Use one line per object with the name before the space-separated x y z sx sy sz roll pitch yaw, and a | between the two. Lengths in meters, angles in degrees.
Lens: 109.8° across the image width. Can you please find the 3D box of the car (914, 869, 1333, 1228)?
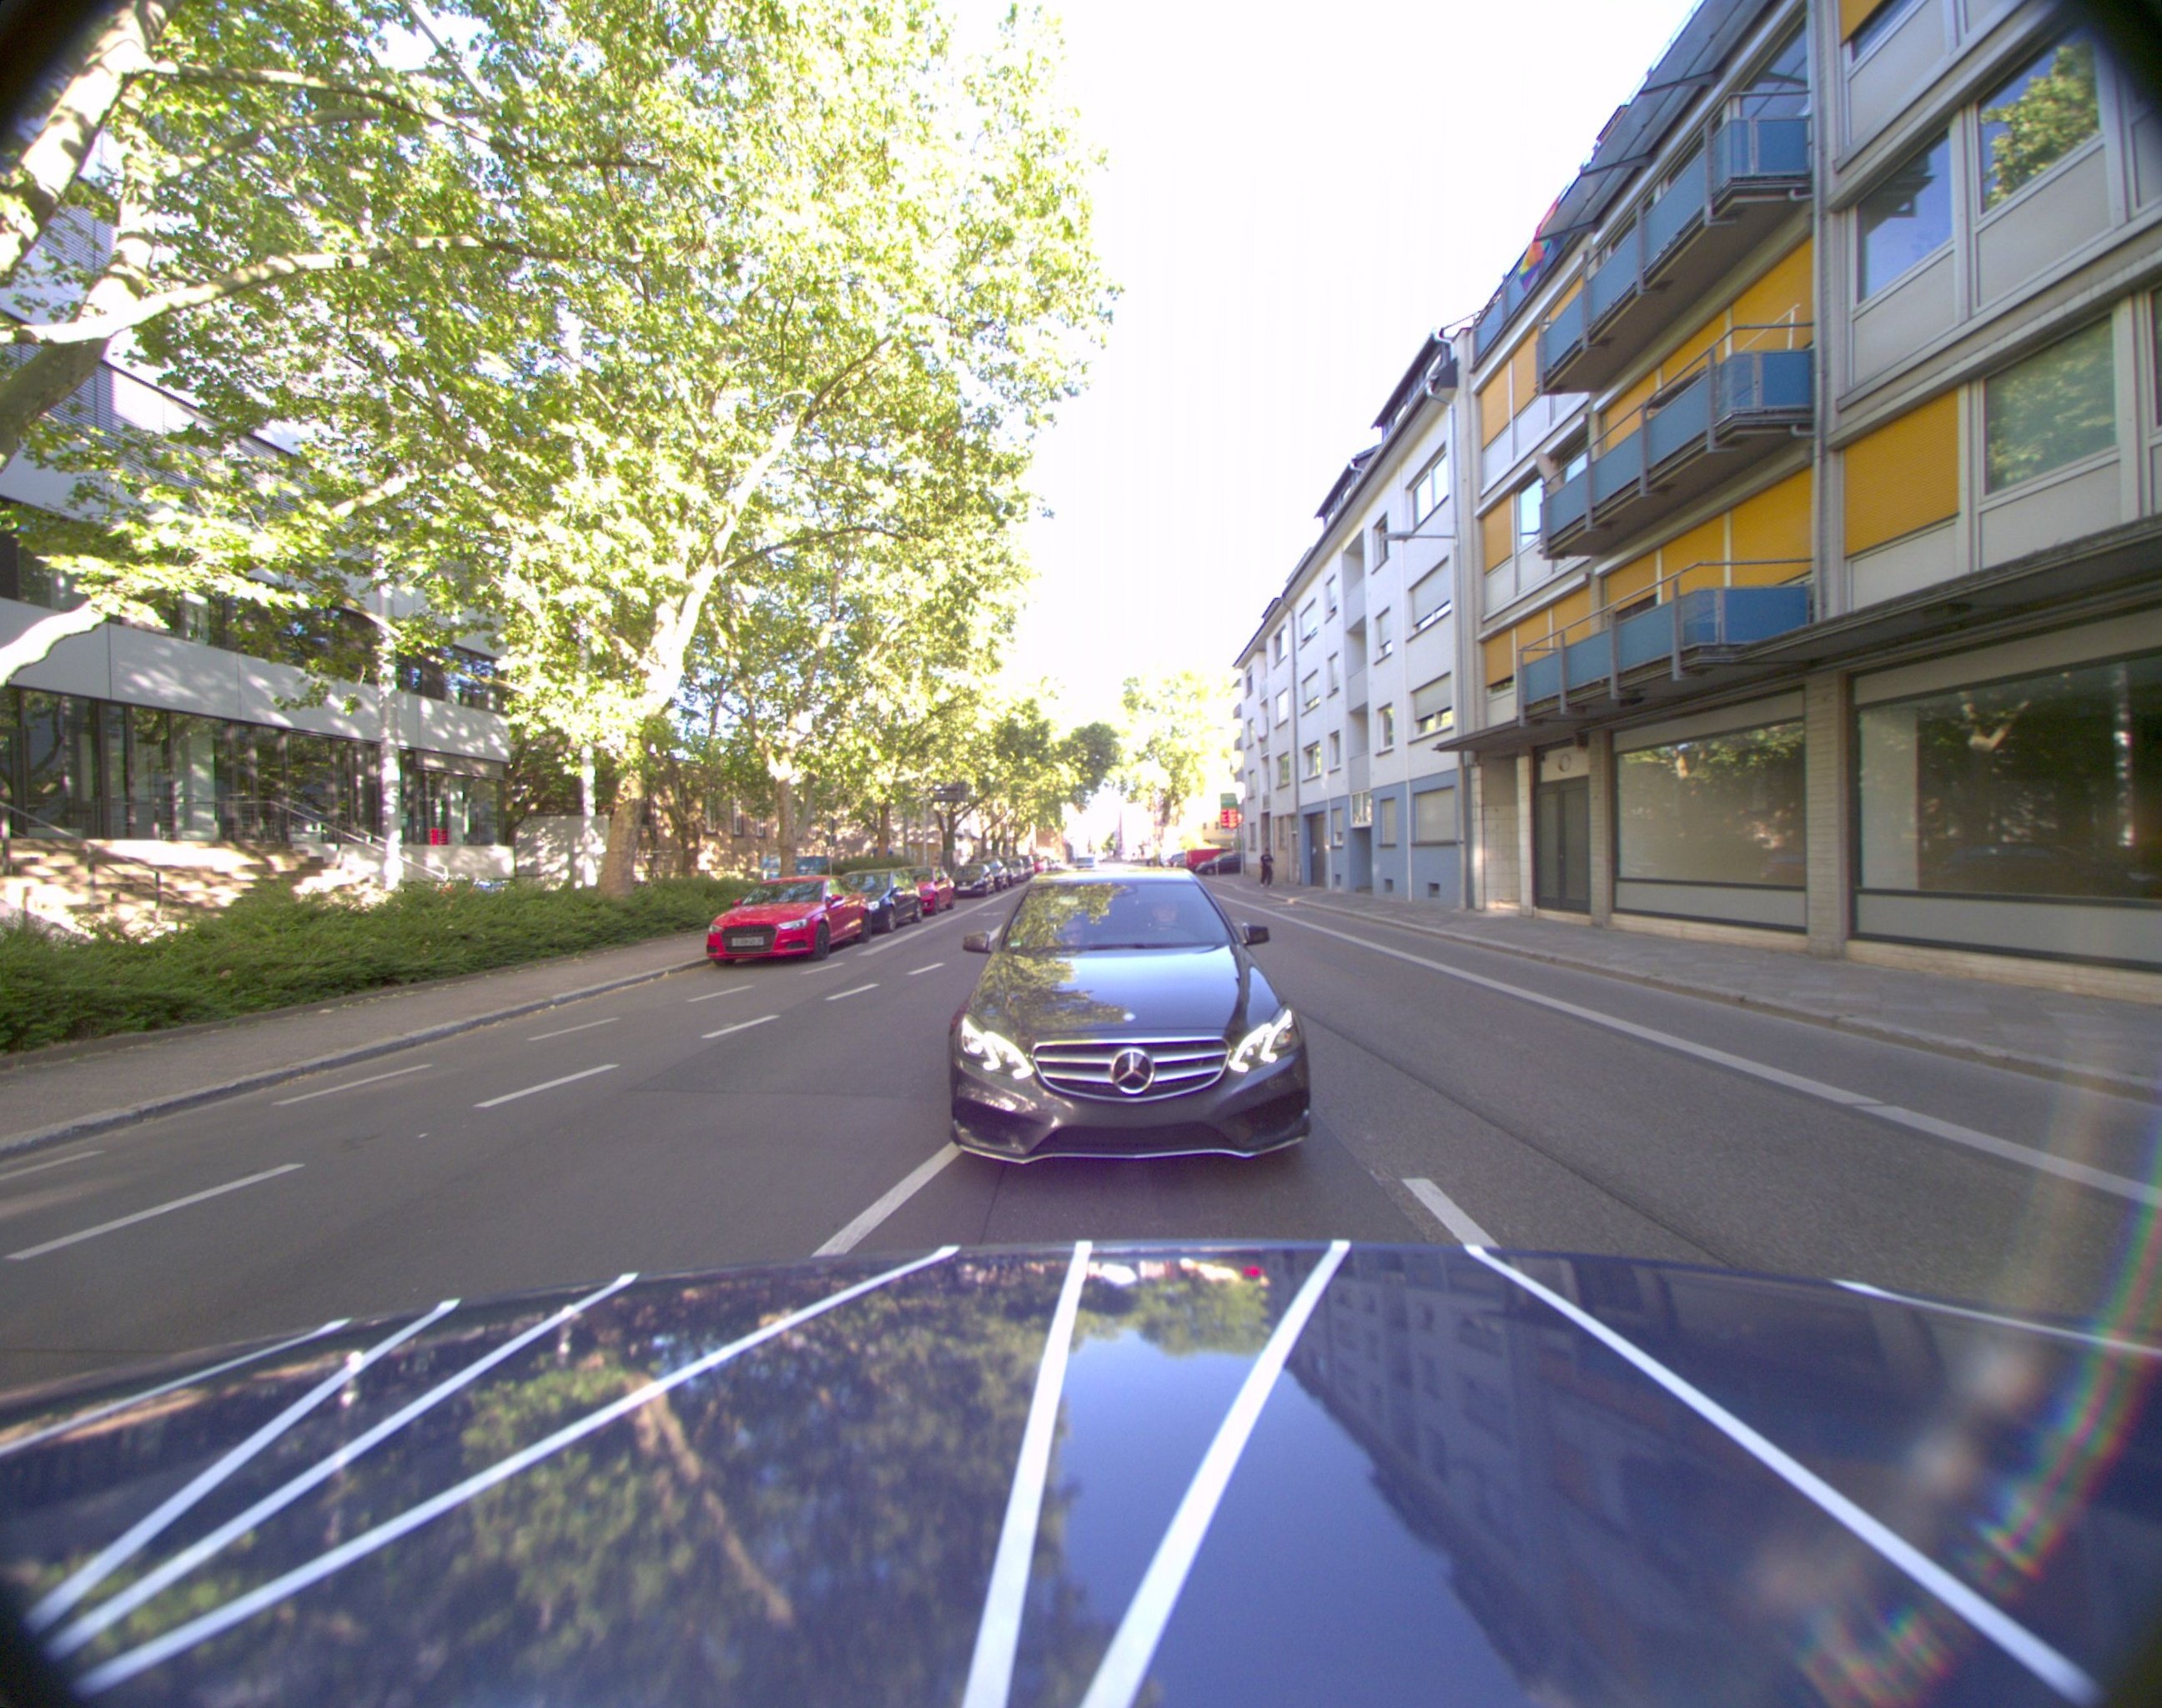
car | 0.221 0.921 5.576 1.849 1.490 4.302 -1 0 1

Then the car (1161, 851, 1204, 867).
car | 10.769 0.518 80.620 4.255 1.461 1.653 -4 0 1

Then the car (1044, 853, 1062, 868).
car | -3.417 0.787 92.847 1.835 1.667 4.259 -2 0 1

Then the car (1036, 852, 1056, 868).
car | -3.944 0.669 86.231 1.835 1.667 4.259 -2 0 1

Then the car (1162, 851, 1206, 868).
car | 10.598 0.544 78.655 4.255 1.461 1.653 -4 0 1

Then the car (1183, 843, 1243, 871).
car | 10.411 0.227 60.134 4.255 1.907 1.818 -4 0 0

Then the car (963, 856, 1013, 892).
car | -4.601 0.966 38.079 1.835 1.596 4.161 -2 0 1

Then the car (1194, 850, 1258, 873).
car | 10.395 0.523 54.752 4.255 1.392 1.653 -4 0 1

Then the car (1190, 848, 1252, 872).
car | 10.479 0.459 57.054 4.255 1.461 1.653 -4 0 1

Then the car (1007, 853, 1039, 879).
car | -4.184 0.814 55.644 1.835 1.750 4.259 -2 0 1

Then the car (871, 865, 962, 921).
car | -5.046 1.137 23.845 1.835 1.459 4.168 -2 0 1

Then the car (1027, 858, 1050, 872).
car | -3.995 1.028 71.792 1.835 1.220 4.259 -2 0 1

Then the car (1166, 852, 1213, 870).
car | 10.427 0.677 73.197 4.255 1.461 1.653 -4 0 1

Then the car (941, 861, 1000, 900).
car | -4.750 1.106 33.181 1.835 1.459 4.168 -2 0 1

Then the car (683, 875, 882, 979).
car | -5.134 1.180 13.774 1.835 1.396 4.247 -2 0 1

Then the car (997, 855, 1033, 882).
car | -4.342 0.948 50.612 1.835 1.604 4.259 -2 0 1

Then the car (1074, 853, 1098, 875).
car | 0.401 0.728 57.242 1.726 1.530 4.000 -1 0 1

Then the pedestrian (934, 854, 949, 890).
pedestrian | -7.062 0.912 38.438 0.601 1.785 0.593 -2 1 0

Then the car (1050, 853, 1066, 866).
car | -3.052 0.685 102.954 1.835 1.667 4.259 -2 0 1

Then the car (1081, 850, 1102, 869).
car | 1.046 0.536 74.015 1.908 1.678 4.812 -2 0 1

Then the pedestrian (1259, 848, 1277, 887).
pedestrian | 8.294 0.602 33.668 0.612 1.685 0.655 -2 1 1

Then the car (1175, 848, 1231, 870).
car | 10.047 0.412 62.716 4.255 1.461 1.653 -4 0 1

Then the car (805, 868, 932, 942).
car | -5.044 1.153 18.635 1.835 1.438 4.168 -2 0 1

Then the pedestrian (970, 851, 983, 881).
pedestrian | -6.556 0.761 47.729 0.660 1.849 0.641 -1 1 1

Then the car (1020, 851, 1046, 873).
car | -4.150 0.683 66.352 1.835 1.839 4.259 -2 0 1

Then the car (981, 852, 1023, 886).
car | -4.514 0.824 44.119 1.835 1.787 4.463 -2 0 1
